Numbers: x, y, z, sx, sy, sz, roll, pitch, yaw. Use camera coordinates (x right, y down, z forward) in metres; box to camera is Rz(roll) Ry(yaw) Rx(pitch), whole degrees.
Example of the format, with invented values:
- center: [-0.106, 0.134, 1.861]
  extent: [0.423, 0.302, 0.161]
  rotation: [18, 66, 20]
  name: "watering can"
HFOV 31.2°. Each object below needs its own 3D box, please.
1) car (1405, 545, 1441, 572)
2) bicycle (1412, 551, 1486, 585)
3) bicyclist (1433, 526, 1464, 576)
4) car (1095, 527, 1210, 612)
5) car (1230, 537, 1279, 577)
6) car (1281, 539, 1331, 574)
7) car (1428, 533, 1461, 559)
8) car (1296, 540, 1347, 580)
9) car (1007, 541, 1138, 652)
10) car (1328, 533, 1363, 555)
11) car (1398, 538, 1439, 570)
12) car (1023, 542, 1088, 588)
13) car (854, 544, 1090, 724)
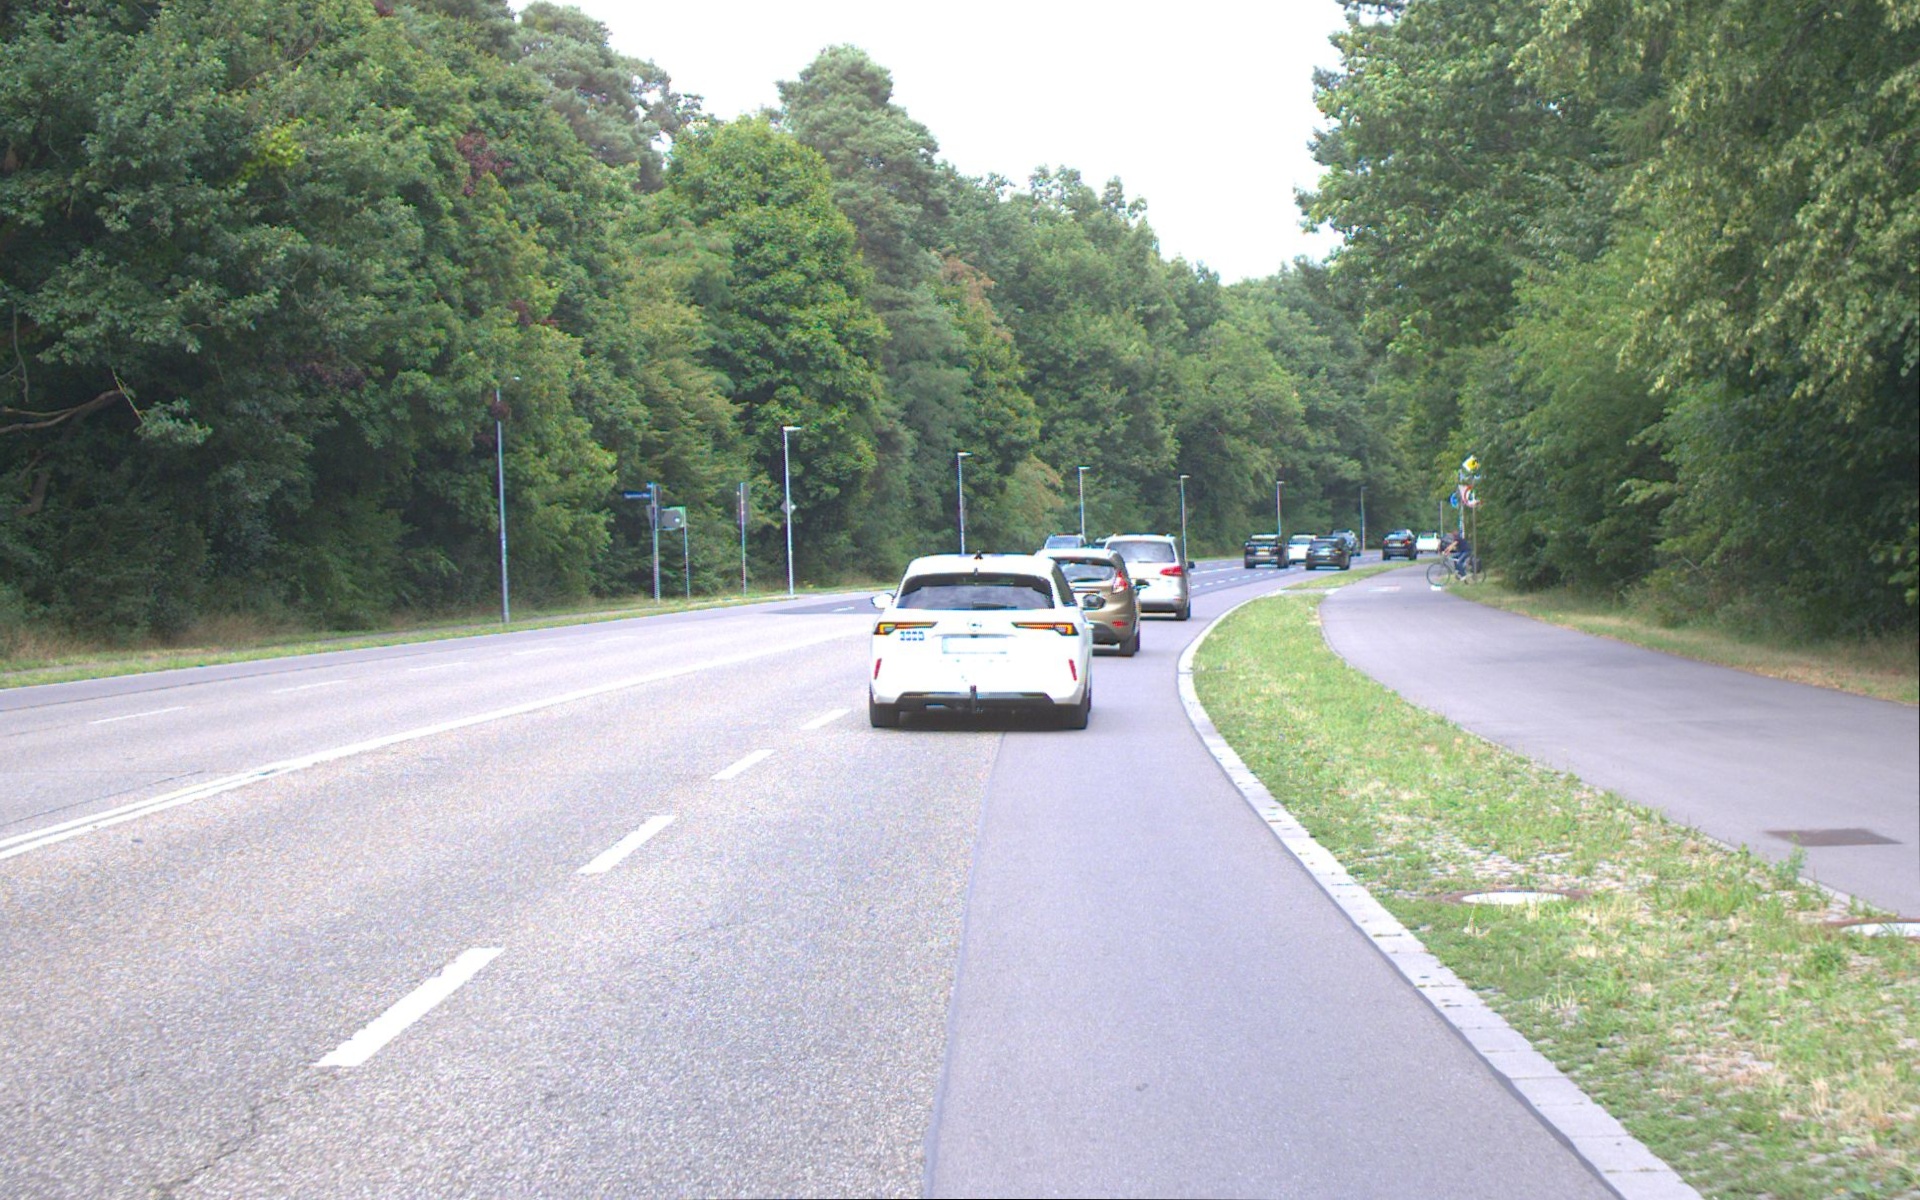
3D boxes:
- center: [33.148, -2.988, 245.953]
  extent: [1.890, 1.809, 3.997]
  rotation: [2, 0, 17]
  name: "car"
- center: [14.526, -0.961, 102.082]
  extent: [2.175, 0.991, 0.711]
  rotation: [0, 1, 9]
  name: "bicycle"
- center: [14.515, -1.445, 102.066]
  extent: [0.899, 1.465, 0.711]
  rotation: [0, 1, 9]
  name: "bicyclist"
- center: [3.866, -0.591, 68.546]
  extent: [1.994, 1.601, 3.999]
  rotation: [2, 0, 7]
  name: "car"
- center: [14.087, -2.047, 164.182]
  extent: [1.994, 1.777, 3.998]
  rotation: [2, 0, 9]
  name: "car"
- center: [18.244, -2.285, 181.259]
  extent: [1.995, 1.777, 3.997]
  rotation: [2, 0, 15]
  name: "car"
- center: [33.011, -3.696, 234.280]
  extent: [1.994, 1.700, 3.998]
  rotation: [0, 1, 11]
  name: "car"
- center: [16.805, -1.840, 159.648]
  extent: [1.994, 1.777, 3.998]
  rotation: [2, 0, 11]
  name: "car"
- center: [1.501, -0.053, 46.916]
  extent: [1.635, 1.415, 4.000]
  rotation: [2, 0, 0]
  name: "car"
- center: [25.585, -3.735, 228.031]
  extent: [1.874, 1.426, 3.998]
  rotation: [0, 1, 13]
  name: "car"
- center: [27.251, -2.747, 204.201]
  extent: [1.995, 1.777, 3.997]
  rotation: [2, 0, 13]
  name: "car"
- center: [3.953, -1.409, 141.126]
  extent: [1.994, 1.785, 4.746]
  rotation: [2, 0, 9]
  name: "car"
- center: [0.118, 0.252, 29.175]
  extent: [1.836, 1.405, 4.491]
  rotation: [0, 0, 1]
  name: "car"
